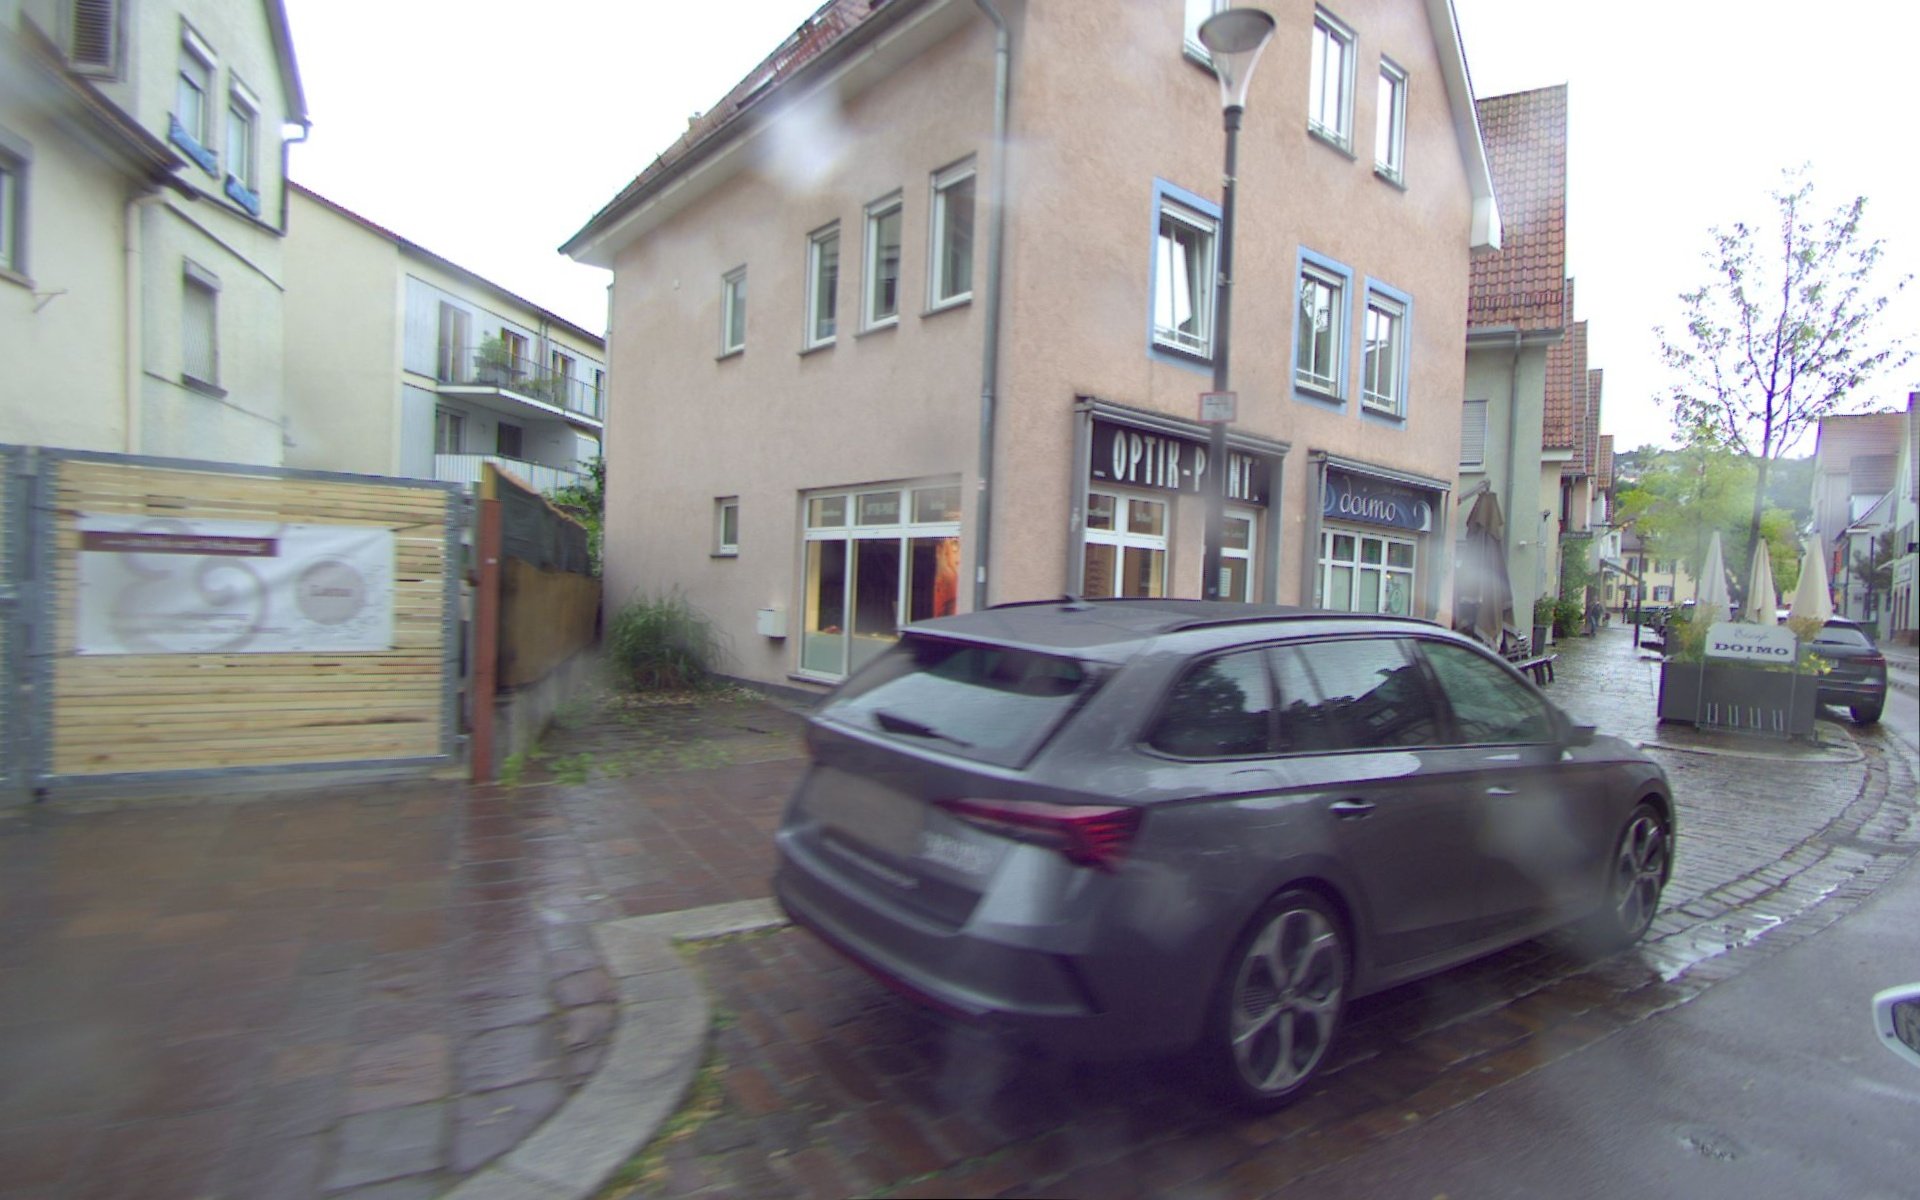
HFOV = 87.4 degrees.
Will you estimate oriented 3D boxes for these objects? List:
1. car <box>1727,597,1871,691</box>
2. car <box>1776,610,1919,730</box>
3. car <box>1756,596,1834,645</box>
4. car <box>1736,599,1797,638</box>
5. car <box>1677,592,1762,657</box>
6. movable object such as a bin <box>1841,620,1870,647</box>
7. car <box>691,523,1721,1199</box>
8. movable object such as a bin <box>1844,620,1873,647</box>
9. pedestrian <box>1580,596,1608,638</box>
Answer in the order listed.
[{"bbox_3d":[16.533,0.792,19.984,1.838,1.545,4.312,5,3,37],"label":"car"},{"bbox_3d":[13.458,0.931,14.936,1.838,1.461,4.601,3,2,37],"label":"car"},{"bbox_3d":[35.473,0.834,42.784,1.867,1.836,3.990,5,3,31],"label":"car"},{"bbox_3d":[42.087,0.982,52.488,1.965,1.823,3.990,4,0,32],"label":"car"},{"bbox_3d":[22.327,0.743,29.658,1.800,1.688,4.627,4,0,36],"label":"car"},{"bbox_3d":[38.017,1.407,42.661,0.785,1.095,0.581,2,0,32],"label":"movable object such as a bin"},{"bbox_3d":[1.330,0.684,4.284,4.360,1.561,1.862,4,0,-37],"label":"car"},{"bbox_3d":[37.675,1.398,42.123,0.781,1.095,0.613,2,0,32],"label":"movable object such as a bin"},{"bbox_3d":[26.786,0.705,42.433,0.776,1.704,1.175,4,0,27],"label":"pedestrian"}]
